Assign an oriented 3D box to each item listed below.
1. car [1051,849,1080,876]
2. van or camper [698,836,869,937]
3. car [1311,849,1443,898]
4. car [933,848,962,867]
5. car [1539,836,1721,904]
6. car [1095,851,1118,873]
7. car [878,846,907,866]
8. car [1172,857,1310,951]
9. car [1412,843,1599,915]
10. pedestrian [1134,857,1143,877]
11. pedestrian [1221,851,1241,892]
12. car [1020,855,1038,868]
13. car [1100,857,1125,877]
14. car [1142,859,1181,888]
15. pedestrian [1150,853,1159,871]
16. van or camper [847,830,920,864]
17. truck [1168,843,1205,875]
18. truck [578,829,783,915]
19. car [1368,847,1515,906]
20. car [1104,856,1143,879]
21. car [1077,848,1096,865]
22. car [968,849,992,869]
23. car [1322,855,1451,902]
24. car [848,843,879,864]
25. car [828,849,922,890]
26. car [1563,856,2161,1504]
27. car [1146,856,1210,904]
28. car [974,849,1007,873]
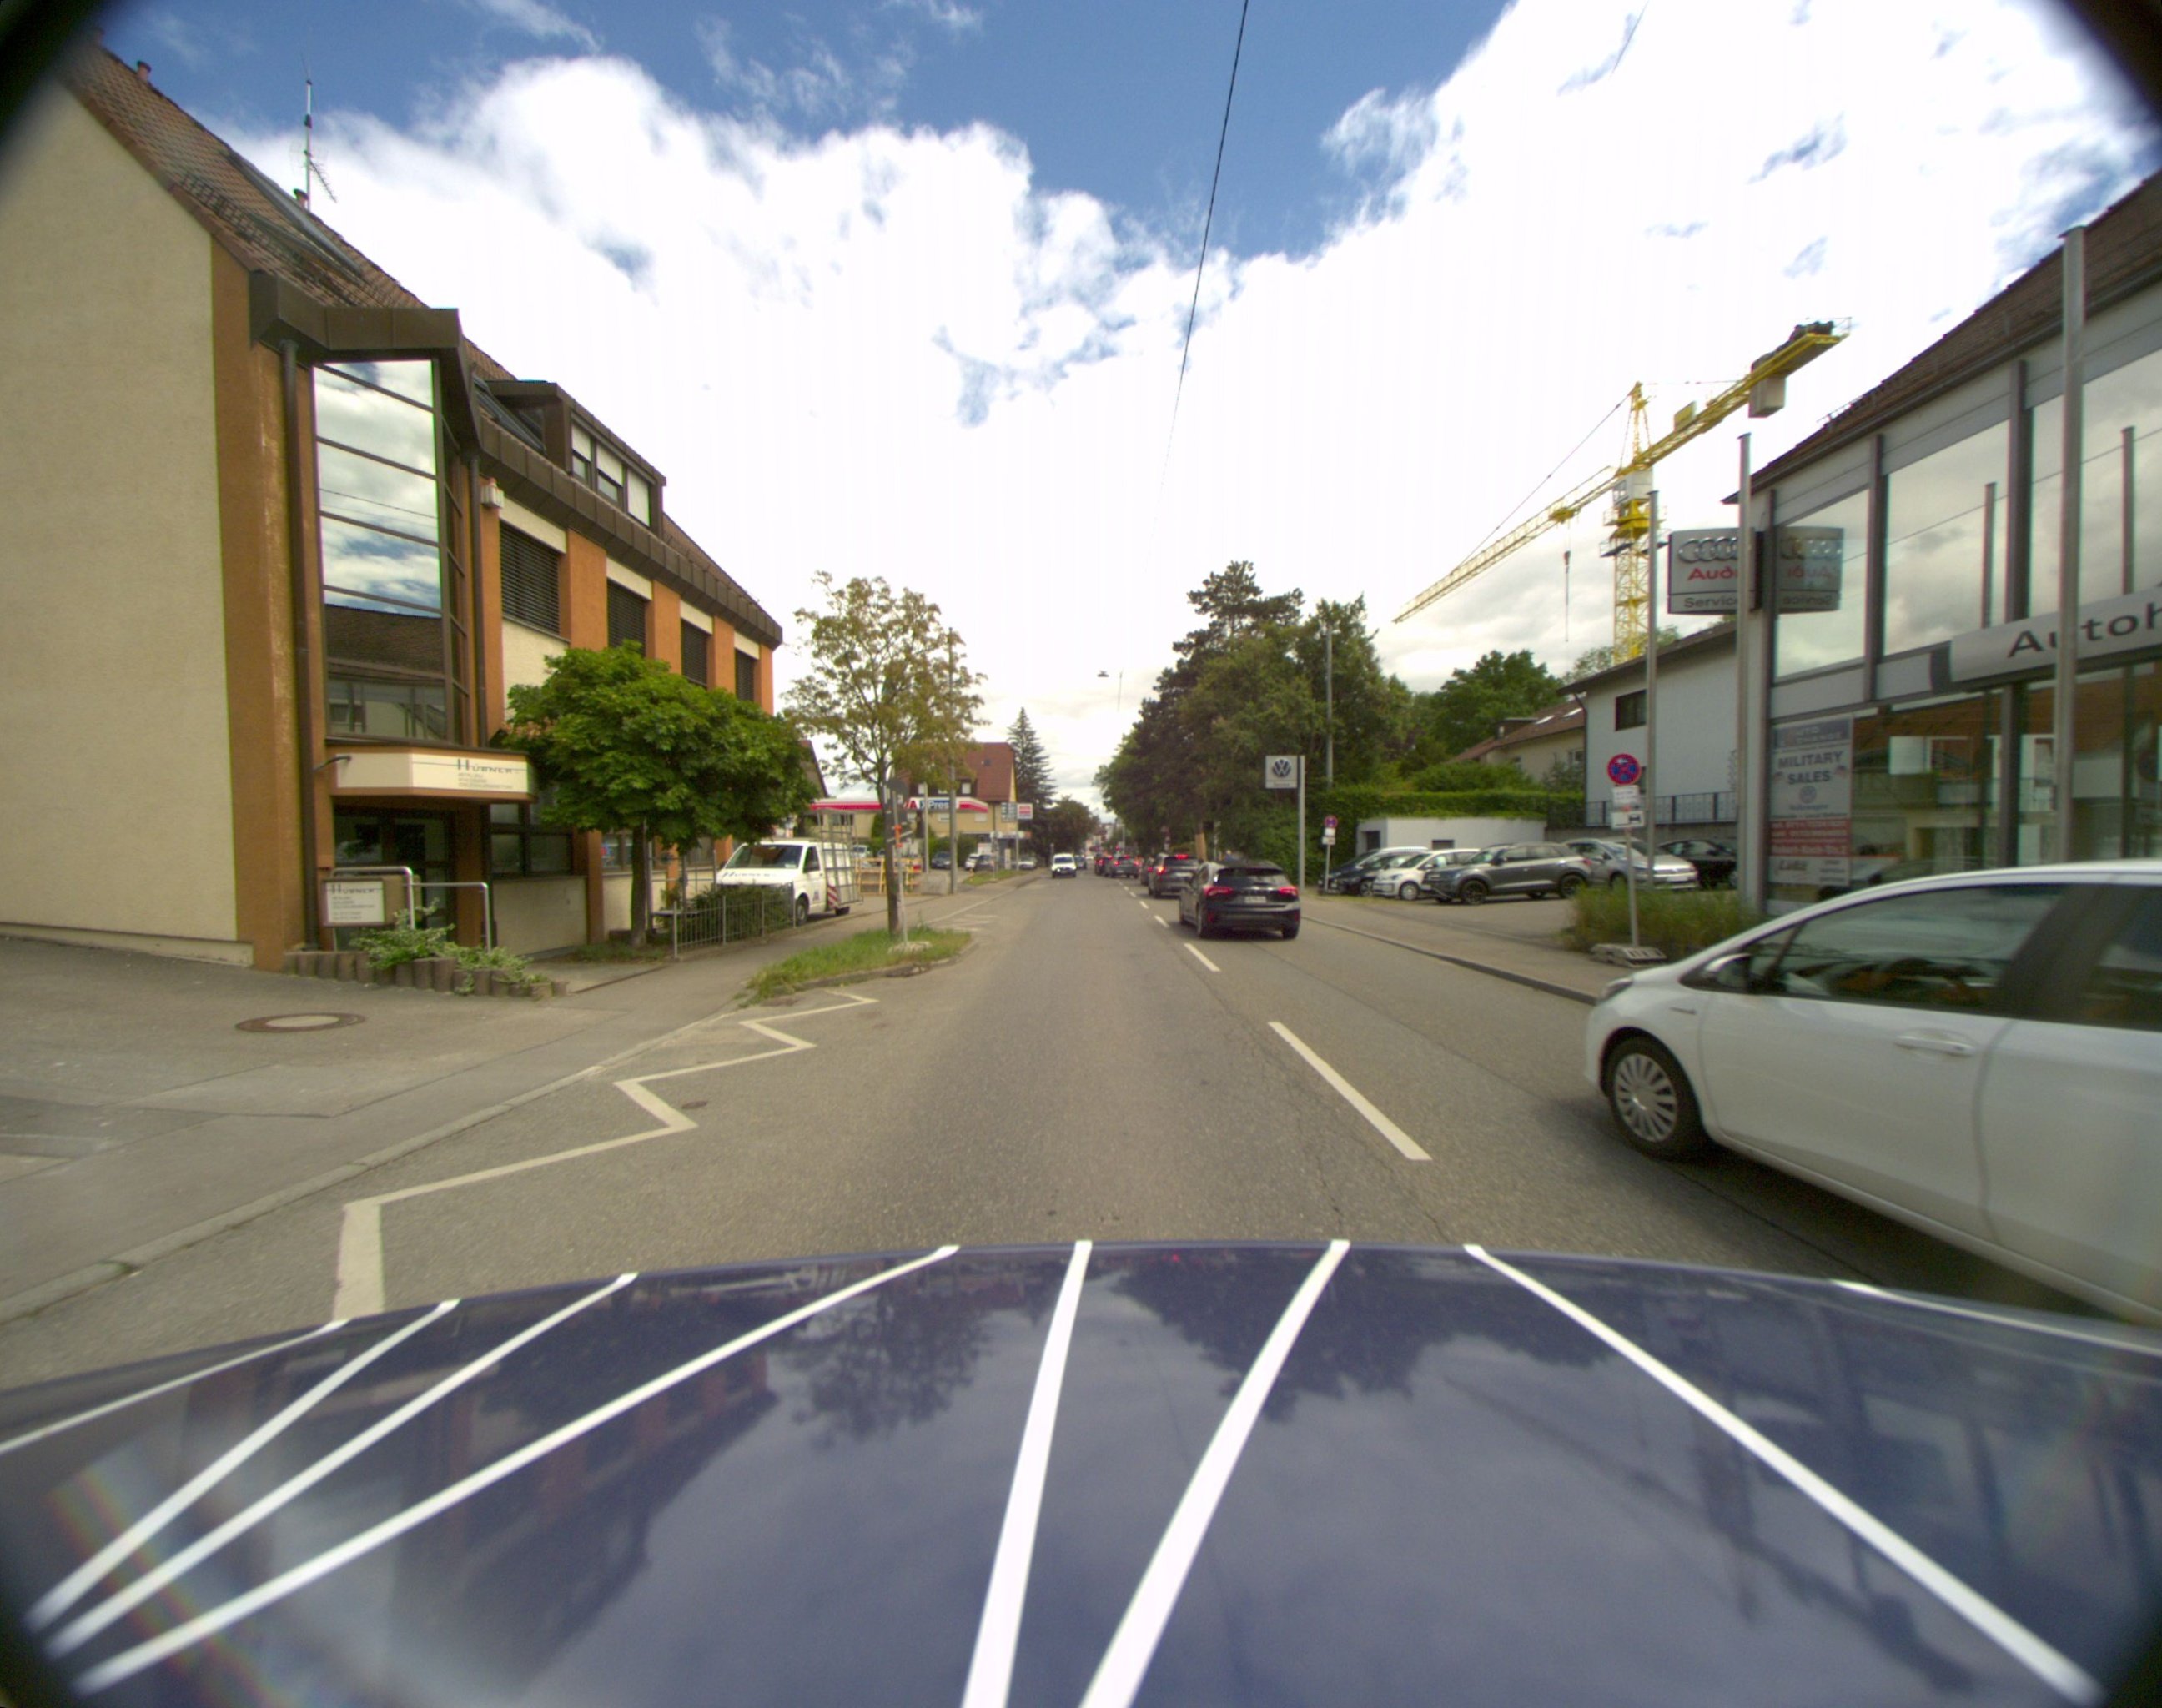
[{"bbox_3d":[-1.180,0.610,58.224,1.965,1.796,4.428,-3,1,1],"label":"car"},{"bbox_3d":[-6.773,0.632,17.927,1.871,2.020,4.548,-2,1,4],"label":"van or camper"},{"bbox_3d":[11.282,0.727,29.181,4.300,1.631,1.904,-2,0,1],"label":"car"},{"bbox_3d":[-11.592,0.275,66.401,1.716,1.533,4.655,3,1,-1],"label":"car"},{"bbox_3d":[14.851,0.435,20.915,1.811,1.575,4.328,-4,-1,0],"label":"car"},{"bbox_3d":[2.301,0.741,69.409,1.913,1.940,4.913,-1,0,-1],"label":"car"},{"bbox_3d":[-16.567,0.183,66.964,1.641,1.576,3.745,3,1,-2],"label":"car"},{"bbox_3d":[2.998,0.869,15.112,1.836,1.514,4.170,-1,1,0],"label":"car"},{"bbox_3d":[11.277,0.639,20.364,4.023,1.621,1.654,-3,0,-1],"label":"car"},{"bbox_3d":[4.589,1.053,60.267,0.575,1.538,0.654,-2,2,-4],"label":"pedestrian"},{"bbox_3d":[6.597,0.766,33.485,0.684,1.727,0.868,-2,2,0],"label":"pedestrian"},{"bbox_3d":[-5.646,0.758,82.157,1.789,1.309,4.480,0,1,-2],"label":"car"},{"bbox_3d":[2.486,0.989,60.249,1.870,1.518,4.528,-1,0,1],"label":"car"},{"bbox_3d":[4.231,0.985,40.491,1.744,1.421,4.524,0,0,1],"label":"car"},{"bbox_3d":[7.765,0.888,80.513,0.835,1.837,1.022,-2,1,4],"label":"pedestrian"},{"bbox_3d":[-18.309,-0.656,70.599,5.975,2.834,2.531,3,1,-2],"label":"van or camper"},{"bbox_3d":[8.661,0.356,62.808,2.311,2.406,6.093,-2,1,2],"label":"truck"},{"bbox_3d":[-12.371,0.549,23.757,5.100,2.442,2.357,-1,-1,1],"label":"truck"},{"bbox_3d":[11.032,0.678,23.402,3.749,1.551,1.534,-3,0,-1],"label":"car"},{"bbox_3d":[2.959,0.937,53.793,1.872,1.608,4.531,0,0,-9],"label":"car"},{"bbox_3d":[0.661,0.277,86.970,1.965,1.796,4.222,-3,1,1],"label":"car"},{"bbox_3d":[-8.917,0.418,67.593,1.638,1.520,4.202,3,1,-2],"label":"car"},{"bbox_3d":[10.461,0.812,26.178,3.749,1.509,1.729,-1,0,-1],"label":"car"},{"bbox_3d":[-19.046,-0.058,66.680,1.571,1.673,4.047,3,1,-2],"label":"car"},{"bbox_3d":[-9.210,0.679,33.814,4.306,1.621,1.639,2,0,36],"label":"car"},{"bbox_3d":[3.555,0.833,2.374,1.694,1.570,3.799,-1,1,0],"label":"car"},{"bbox_3d":[3.507,0.898,28.247,1.836,1.620,4.321,-1,0,0],"label":"car"},{"bbox_3d":[-6.854,0.504,57.766,1.619,1.587,4.160,5,1,4],"label":"car"}]
